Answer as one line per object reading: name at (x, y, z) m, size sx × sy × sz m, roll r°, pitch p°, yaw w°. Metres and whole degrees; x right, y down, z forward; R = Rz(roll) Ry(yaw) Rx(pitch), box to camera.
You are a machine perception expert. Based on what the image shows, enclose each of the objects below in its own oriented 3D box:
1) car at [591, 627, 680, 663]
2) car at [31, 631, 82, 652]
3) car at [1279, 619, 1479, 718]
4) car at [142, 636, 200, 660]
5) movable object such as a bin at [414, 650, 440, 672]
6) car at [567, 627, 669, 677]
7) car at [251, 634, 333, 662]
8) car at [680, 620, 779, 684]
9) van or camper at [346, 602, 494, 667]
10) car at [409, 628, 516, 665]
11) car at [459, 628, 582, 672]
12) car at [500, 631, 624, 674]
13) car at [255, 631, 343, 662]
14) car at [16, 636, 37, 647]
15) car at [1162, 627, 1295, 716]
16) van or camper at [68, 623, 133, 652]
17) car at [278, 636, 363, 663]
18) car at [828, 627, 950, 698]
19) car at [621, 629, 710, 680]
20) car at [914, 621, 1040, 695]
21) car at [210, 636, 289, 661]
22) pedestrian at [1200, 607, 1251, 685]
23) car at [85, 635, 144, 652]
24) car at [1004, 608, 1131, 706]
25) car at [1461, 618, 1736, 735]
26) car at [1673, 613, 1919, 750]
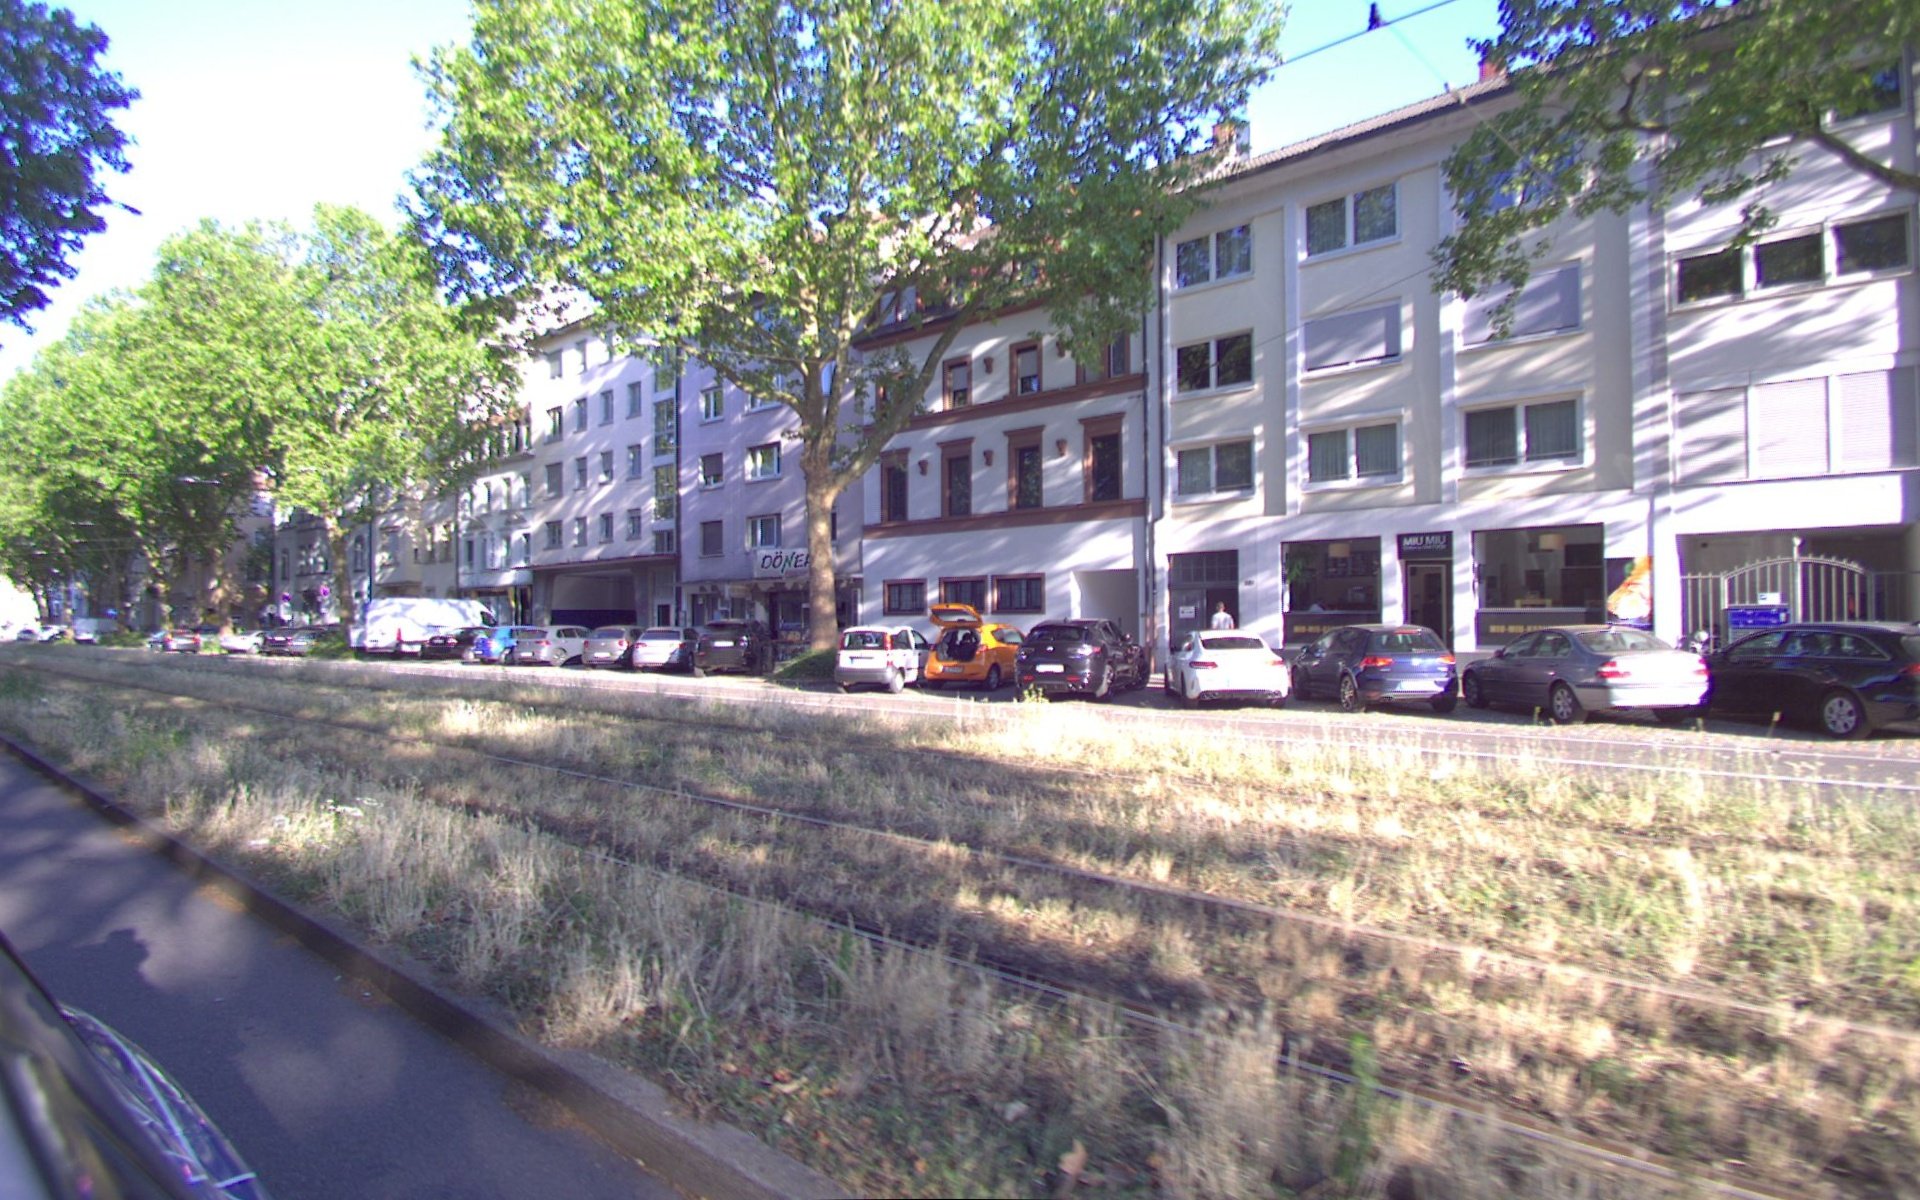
car at (-16.534, 2.259, 51.642) m, size 1.904 × 1.733 × 3.947 m, roll -1°, pitch -2°, yaw 40°
car at (-97.368, 4.422, 109.088) m, size 1.971 × 2.029 × 4.001 m, roll -2°, pitch 0°, yaw -1°
car at (7.314, 1.130, 18.156) m, size 1.776 × 1.452 × 4.002 m, roll -2°, pitch 0°, yaw -2°
car at (-47.259, 2.876, 60.598) m, size 4.481 × 1.400 × 1.801 m, roll -2°, pitch -4°, yaw 41°
movable object such as a bin at (-25.327, 2.880, 48.075) m, size 0.865 × 1.030 × 0.734 m, roll -1°, pitch -2°, yaw 29°
car at (-11.536, 1.712, 34.406) m, size 1.735 × 1.433 × 3.992 m, roll -2°, pitch 0°, yaw 7°
car at (-38.402, 2.788, 58.287) m, size 1.803 × 1.545 × 3.993 m, roll -1°, pitch -3°, yaw 5°
car at (-6.658, 1.464, 29.686) m, size 1.972 × 1.673 × 3.999 m, roll -1°, pitch -1°, yaw 0°
van or camper at (-23.966, 1.521, 45.275) m, size 2.163 × 2.666 × 5.927 m, roll -1°, pitch -2°, yaw 20°
car at (-21.612, 2.007, 44.134) m, size 1.984 × 1.502 × 3.974 m, roll -1°, pitch -2°, yaw 19°
car at (-16.872, 1.880, 38.981) m, size 1.855 × 1.431 × 3.950 m, roll -1°, pitch 0°, yaw 37°
car at (-14.562, 1.888, 37.213) m, size 1.941 × 1.503 × 3.962 m, roll -1°, pitch -2°, yaw 27°
car at (-36.240, 2.597, 55.629) m, size 1.912 × 1.605 × 4.154 m, roll -1°, pitch -4°, yaw 4°
car at (-131.425, 5.779, 142.473) m, size 4.000 × 1.431 × 1.972 m, roll -1°, pitch 0°, yaw 43°
car at (4.957, 1.265, 19.207) m, size 1.700 × 1.343 × 4.199 m, roll -2°, pitch 0°, yaw 5°
van or camper at (-78.537, 3.391, 92.562) m, size 2.171 × 2.418 × 4.363 m, roll -2°, pitch 1°, yaw 1°
car at (-33.740, 2.608, 53.493) m, size 1.779 × 1.368 × 4.001 m, roll 0°, pitch -3°, yaw 4°
car at (-1.598, 1.427, 24.294) m, size 1.643 × 1.460 × 4.343 m, roll -1°, pitch -1°, yaw 14°
car at (-9.330, 1.688, 32.341) m, size 1.884 × 1.396 × 4.003 m, roll -2°, pitch -1°, yaw -4°
car at (0.504, 1.339, 24.363) m, size 1.764 × 1.490 × 3.973 m, roll -2°, pitch 0°, yaw 21°
car at (-42.430, 2.864, 60.509) m, size 1.806 × 1.400 × 3.669 m, roll -1°, pitch -1°, yaw 10°
pedestrian at (6.683, 1.148, 25.474) m, size 0.888 × 1.914 × 0.953 m, roll -1°, pitch -1°, yaw -9°
car at (-76.243, 3.908, 91.328) m, size 1.710 × 1.256 × 3.992 m, roll -2°, pitch 1°, yaw 7°
car at (2.362, 1.170, 21.149) m, size 1.976 × 1.800 × 4.342 m, roll 0°, pitch -3°, yaw 15°
car at (9.649, 1.075, 15.719) m, size 1.698 × 1.452 × 3.999 m, roll -2°, pitch 0°, yaw 0°
car at (12.016, 0.972, 13.697) m, size 1.791 × 1.490 × 4.001 m, roll -2°, pitch 0°, yaw -2°
